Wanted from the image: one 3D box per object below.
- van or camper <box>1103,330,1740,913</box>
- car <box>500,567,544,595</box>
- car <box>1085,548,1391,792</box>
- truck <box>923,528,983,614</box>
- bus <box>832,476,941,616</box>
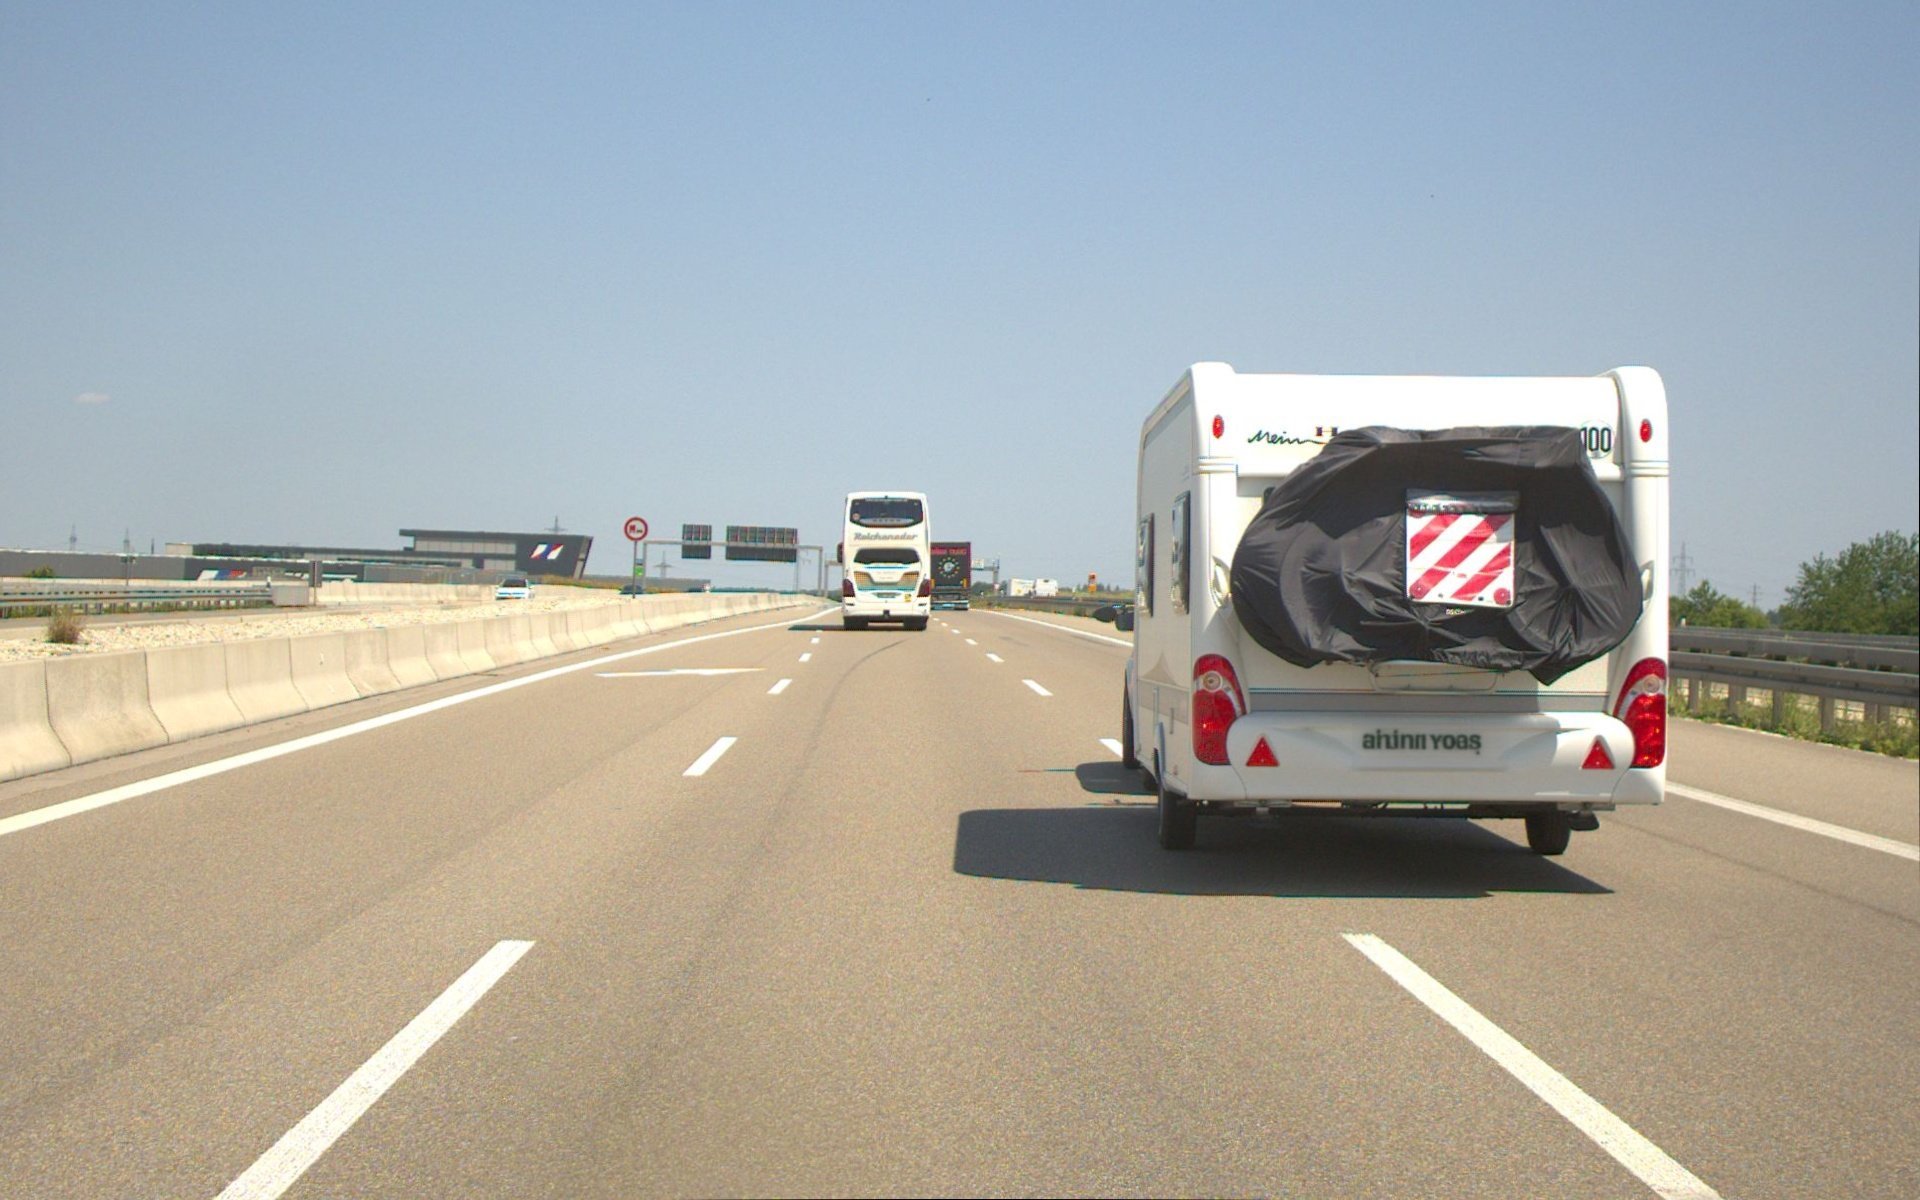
[{"bbox_3d":[2.234,0.052,19.353,2.512,2.584,7.817,1,1,0],"label":"van or camper"},{"bbox_3d":[-23.070,-1.018,181.070,1.809,1.430,4.442,1,0,-1],"label":"car"},{"bbox_3d":[1.960,0.441,25.631,1.880,1.617,4.904,1,1,0],"label":"car"},{"bbox_3d":[-0.395,-1.640,206.263,3.379,4.449,13.565,2,-2,0],"label":"truck"},{"bbox_3d":[-2.267,-1.595,103.038,2.980,3.961,9.106,1,1,-3],"label":"bus"}]
